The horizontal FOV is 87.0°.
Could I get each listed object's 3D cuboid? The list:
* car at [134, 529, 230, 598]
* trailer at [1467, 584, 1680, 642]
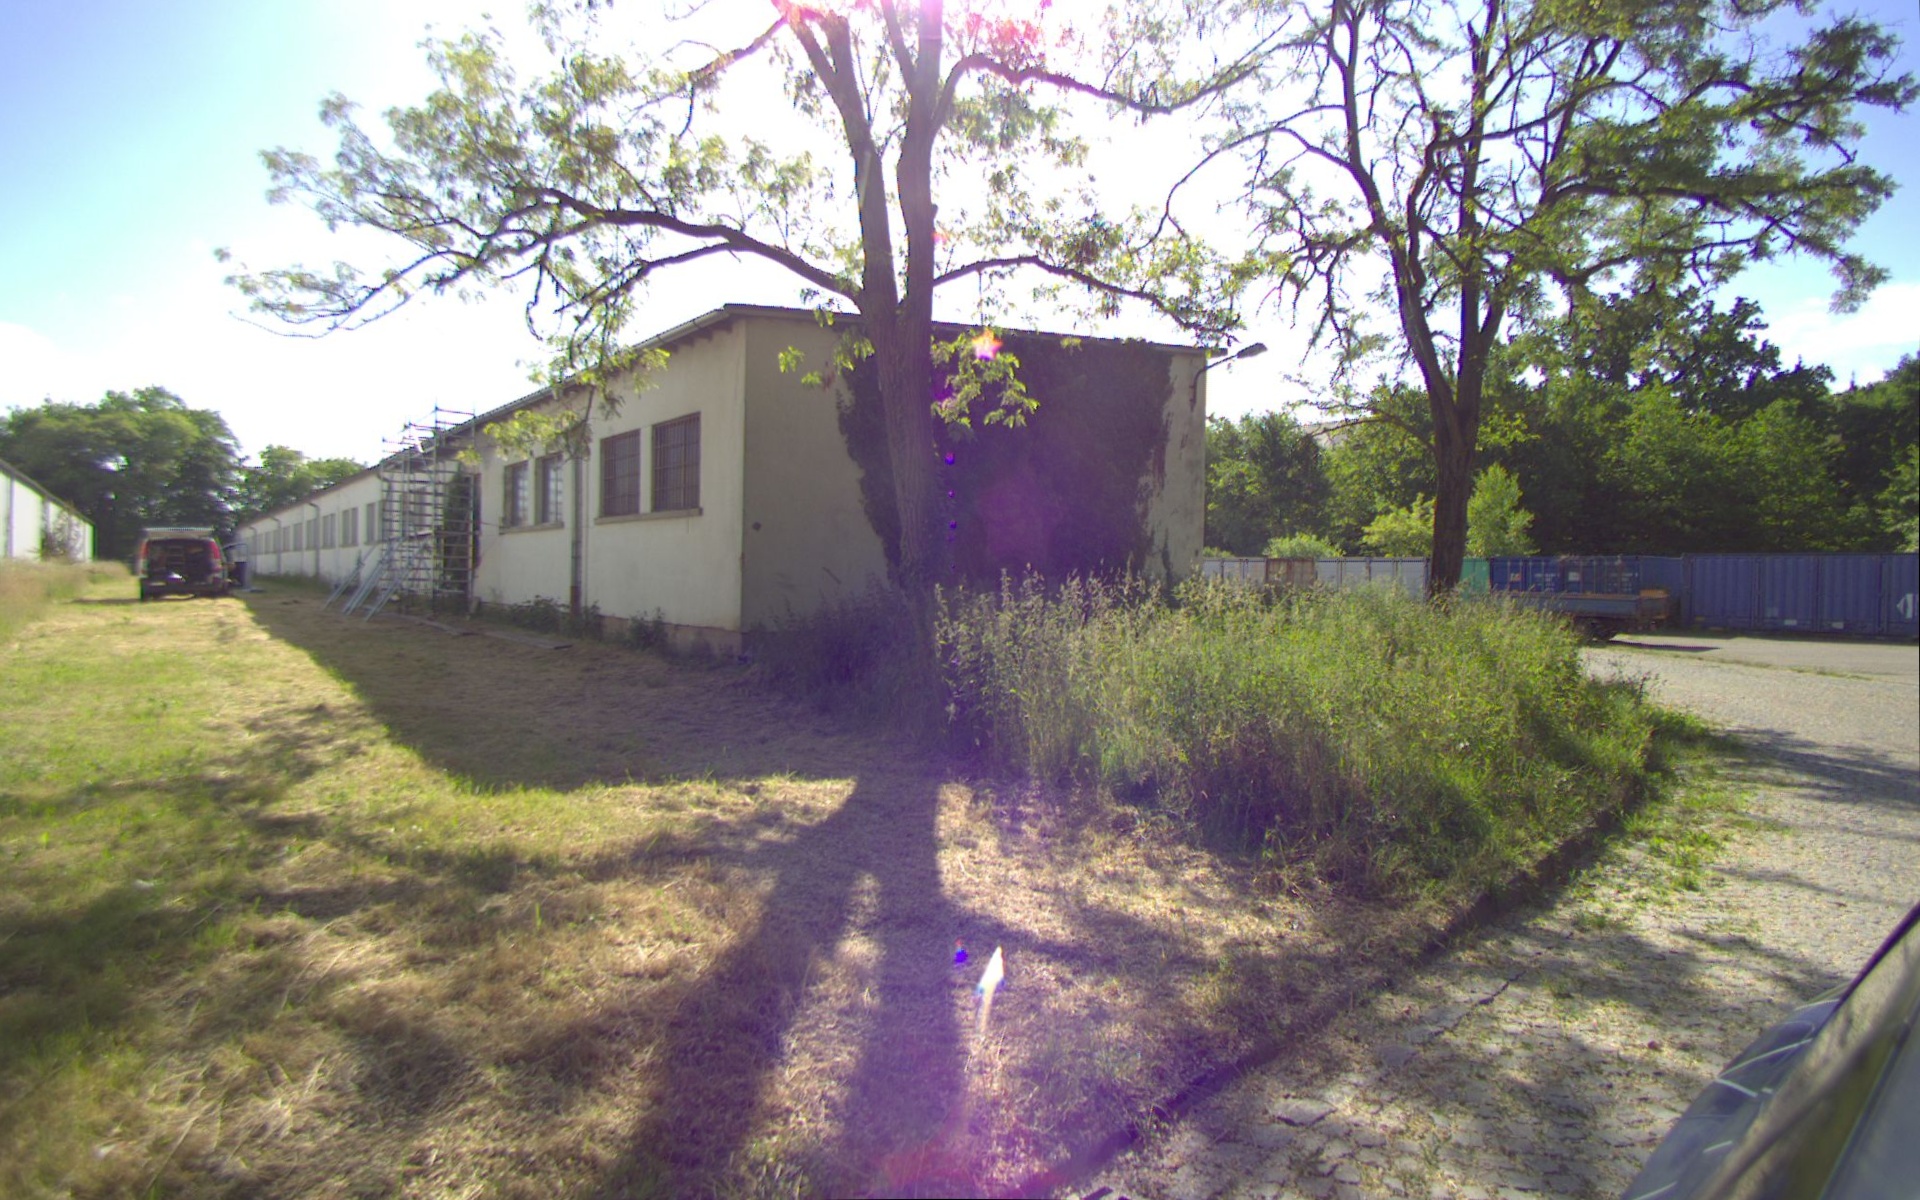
[{"bbox_3d":[-22.685,-1.099,29.523,2.041,1.852,4.271,-3,4,-38],"label":"car"},{"bbox_3d":[18.209,0.312,30.212,2.602,1.432,4.858,-1,2,-39],"label":"trailer"}]
